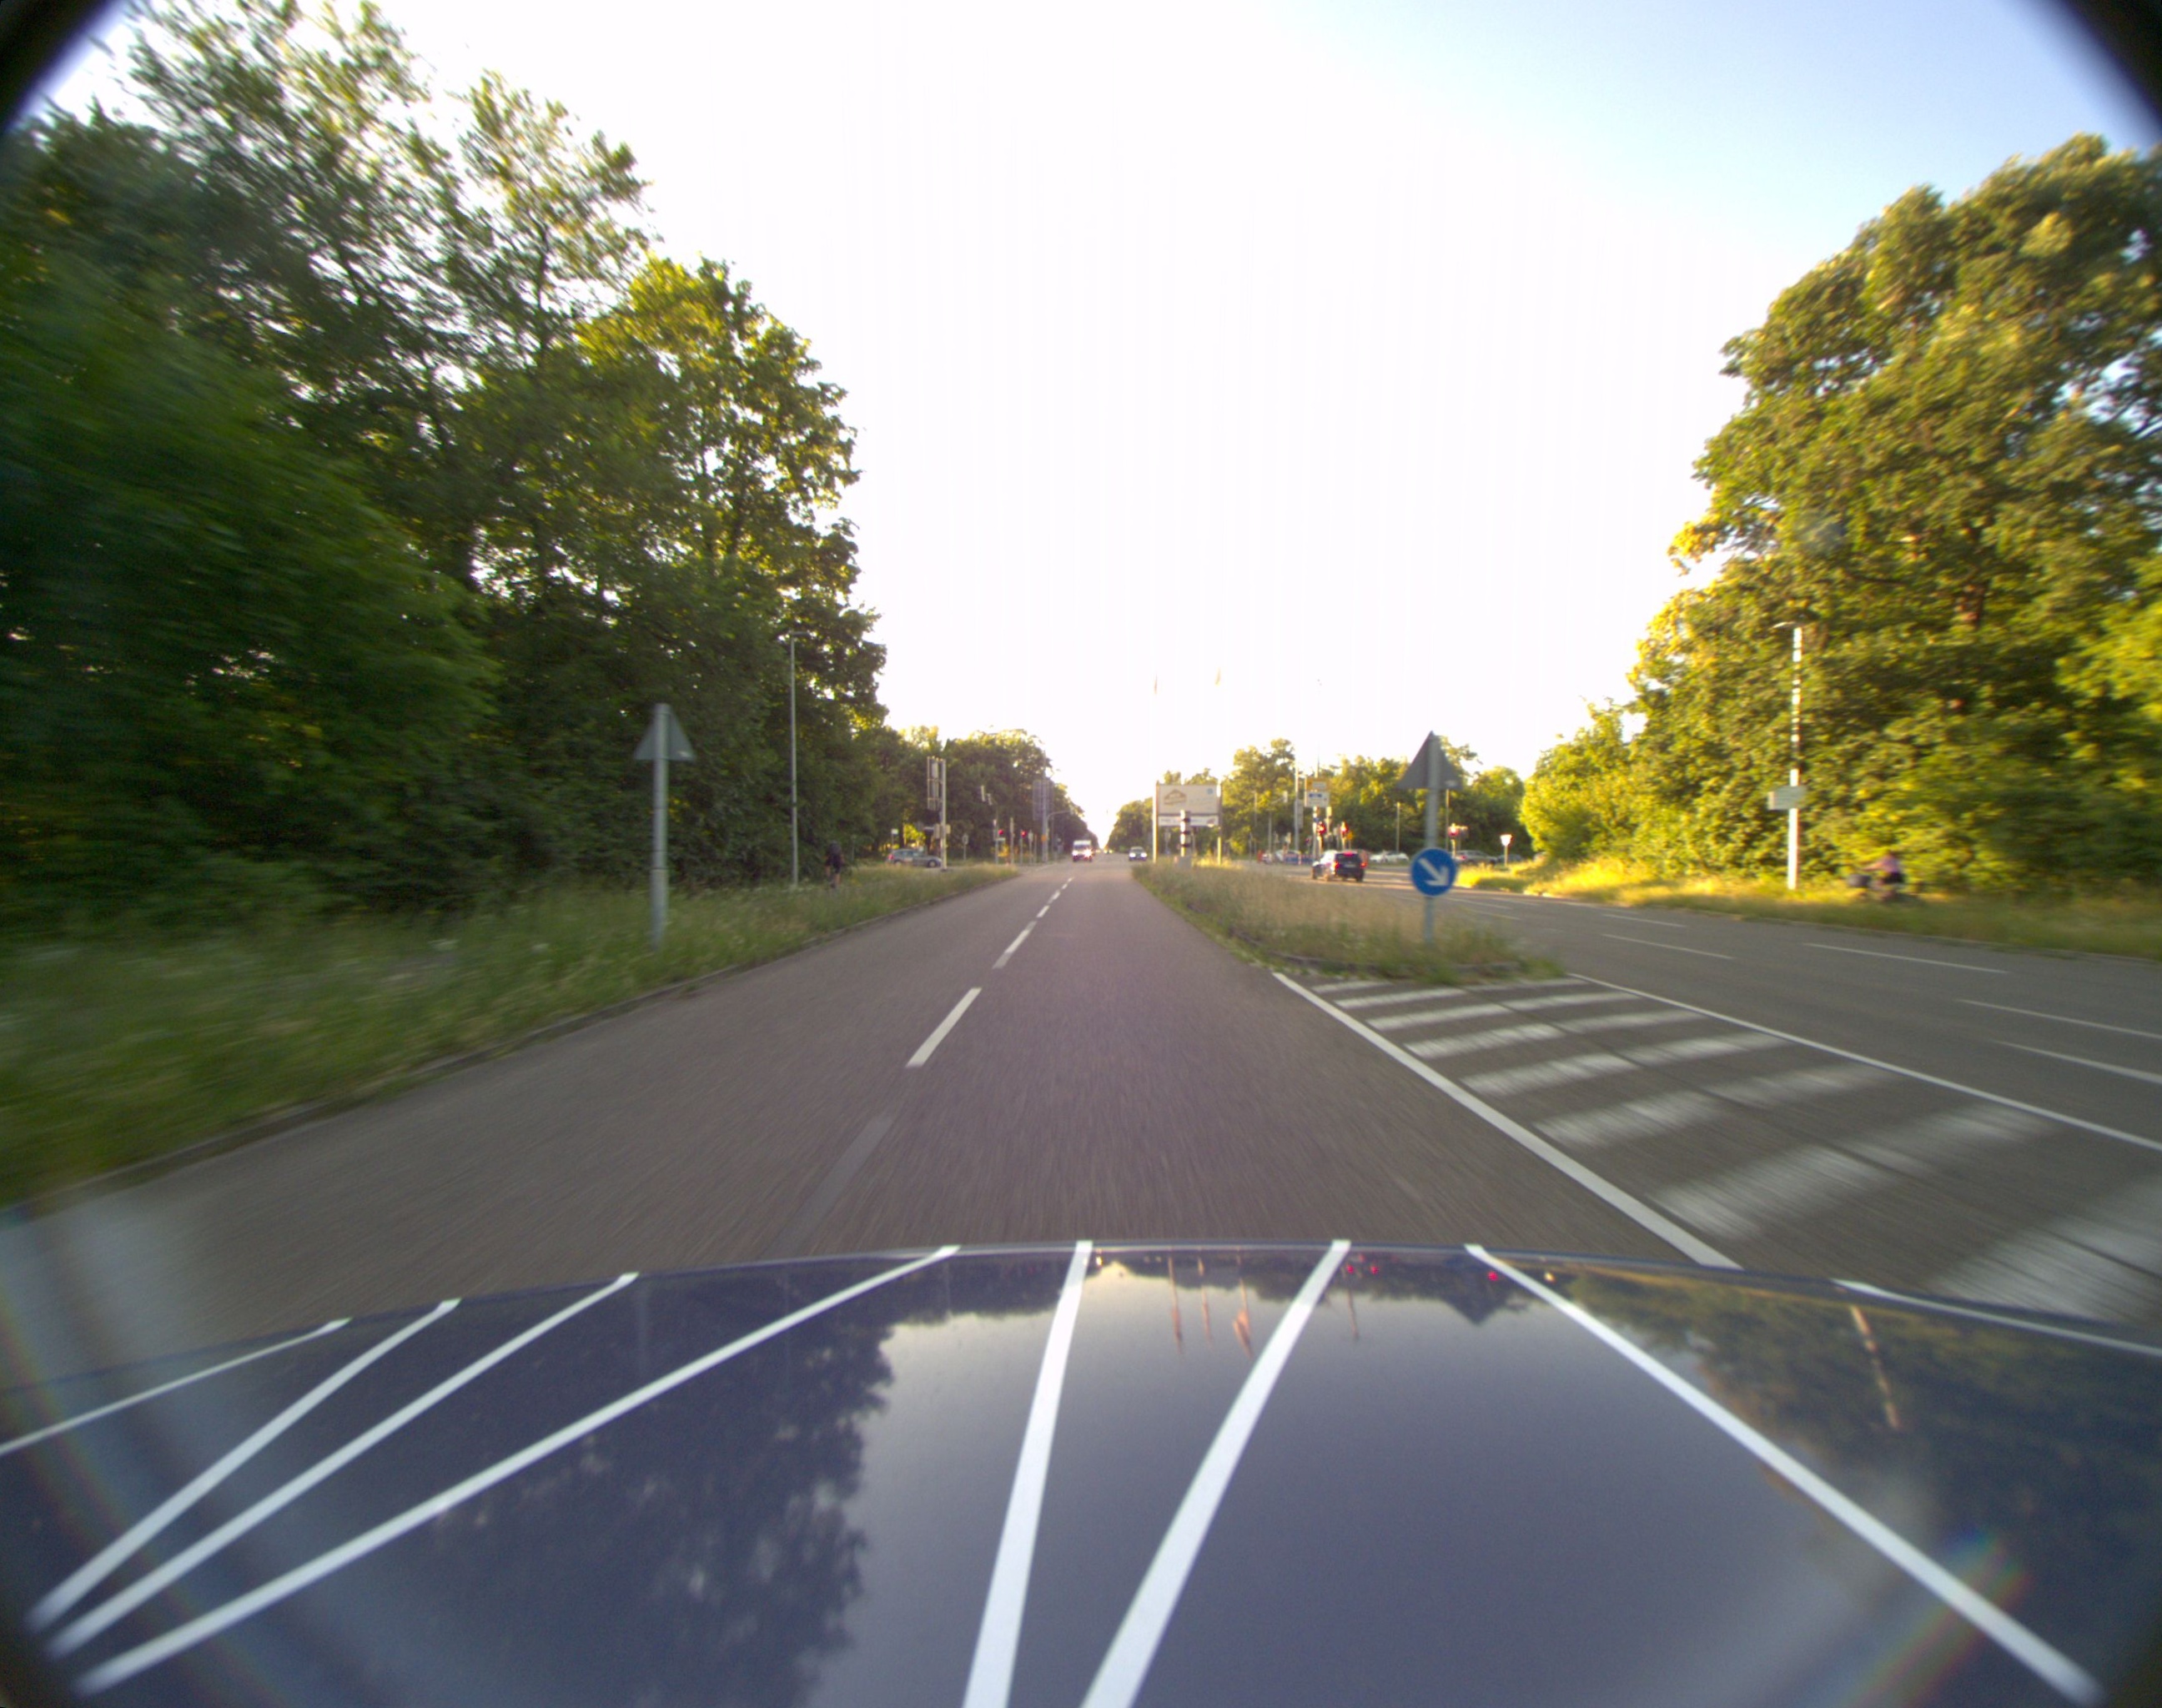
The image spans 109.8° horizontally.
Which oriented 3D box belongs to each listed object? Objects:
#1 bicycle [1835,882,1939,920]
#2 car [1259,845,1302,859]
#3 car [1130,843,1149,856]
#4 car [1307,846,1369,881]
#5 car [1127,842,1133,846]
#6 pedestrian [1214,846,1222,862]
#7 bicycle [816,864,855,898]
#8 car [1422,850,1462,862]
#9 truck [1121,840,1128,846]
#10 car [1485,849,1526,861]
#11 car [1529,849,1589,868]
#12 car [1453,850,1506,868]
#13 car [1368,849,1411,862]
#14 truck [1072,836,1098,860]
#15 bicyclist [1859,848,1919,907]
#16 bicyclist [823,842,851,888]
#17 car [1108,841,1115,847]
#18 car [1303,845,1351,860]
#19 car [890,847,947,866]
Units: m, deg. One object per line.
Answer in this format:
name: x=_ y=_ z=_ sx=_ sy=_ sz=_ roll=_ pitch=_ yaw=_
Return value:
bicycle: x=20.239 y=1.156 z=19.140 sx=0.587 sy=0.800 sz=1.959 roll=1 pitch=1 yaw=4
car: x=21.408 y=-0.206 z=81.519 sx=4.235 sy=1.447 sz=1.719 roll=0 pitch=1 yaw=-15
car: x=6.791 y=-0.547 z=88.626 sx=2.001 sy=1.511 sz=4.000 roll=0 pitch=1 yaw=2
car: x=12.658 y=0.413 z=37.670 sx=1.823 sy=1.525 sz=4.456 roll=2 pitch=1 yaw=5
car: x=15.063 y=-3.142 z=235.312 sx=1.663 sy=1.320 sz=4.045 roll=0 pitch=2 yaw=0
pedestrian: x=15.529 y=0.019 z=85.986 sx=0.749 sy=1.790 sz=0.575 roll=0 pitch=1 yaw=-1
bicycle: x=-7.691 y=0.827 z=23.846 sx=0.612 sy=0.990 sz=1.691 roll=0 pitch=2 yaw=2
car: x=43.487 y=0.249 z=91.654 sx=4.235 sy=1.447 sz=1.719 roll=0 pitch=1 yaw=-15
truck: x=14.843 y=-3.717 z=259.922 sx=1.999 sy=2.109 sz=3.999 roll=0 pitch=1 yaw=0
car: x=52.200 y=0.109 z=93.387 sx=4.403 sy=1.447 sz=1.719 roll=0 pitch=1 yaw=-15
car: x=46.104 y=0.418 z=73.321 sx=4.823 sy=1.652 sz=2.009 roll=-1 pitch=3 yaw=-14
car: x=38.529 y=0.423 z=73.465 sx=4.400 sy=1.615 sz=1.996 roll=-1 pitch=2 yaw=-19
car: x=34.524 y=0.125 z=84.978 sx=4.235 sy=1.447 sz=1.719 roll=0 pitch=1 yaw=-15
truck: x=0.391 y=-0.624 z=86.546 sx=2.604 sy=2.542 sz=6.022 roll=-3 pitch=0 yaw=-2
bicyclist: x=20.154 y=0.567 z=18.964 sx=0.587 sy=1.421 sz=0.822 roll=1 pitch=1 yaw=3
bicyclist: x=-7.702 y=0.334 z=23.973 sx=0.604 sy=1.447 sz=0.780 roll=0 pitch=1 yaw=2
car: x=8.952 y=-2.842 z=221.583 sx=1.846 sy=1.587 sz=4.207 roll=0 pitch=2 yaw=1
car: x=23.997 y=-0.196 z=74.168 sx=4.235 sy=1.447 sz=1.719 roll=0 pitch=1 yaw=-15
car: x=-12.770 y=0.194 z=59.794 sx=4.080 sy=1.398 sz=1.868 roll=-1 pitch=3 yaw=-23
